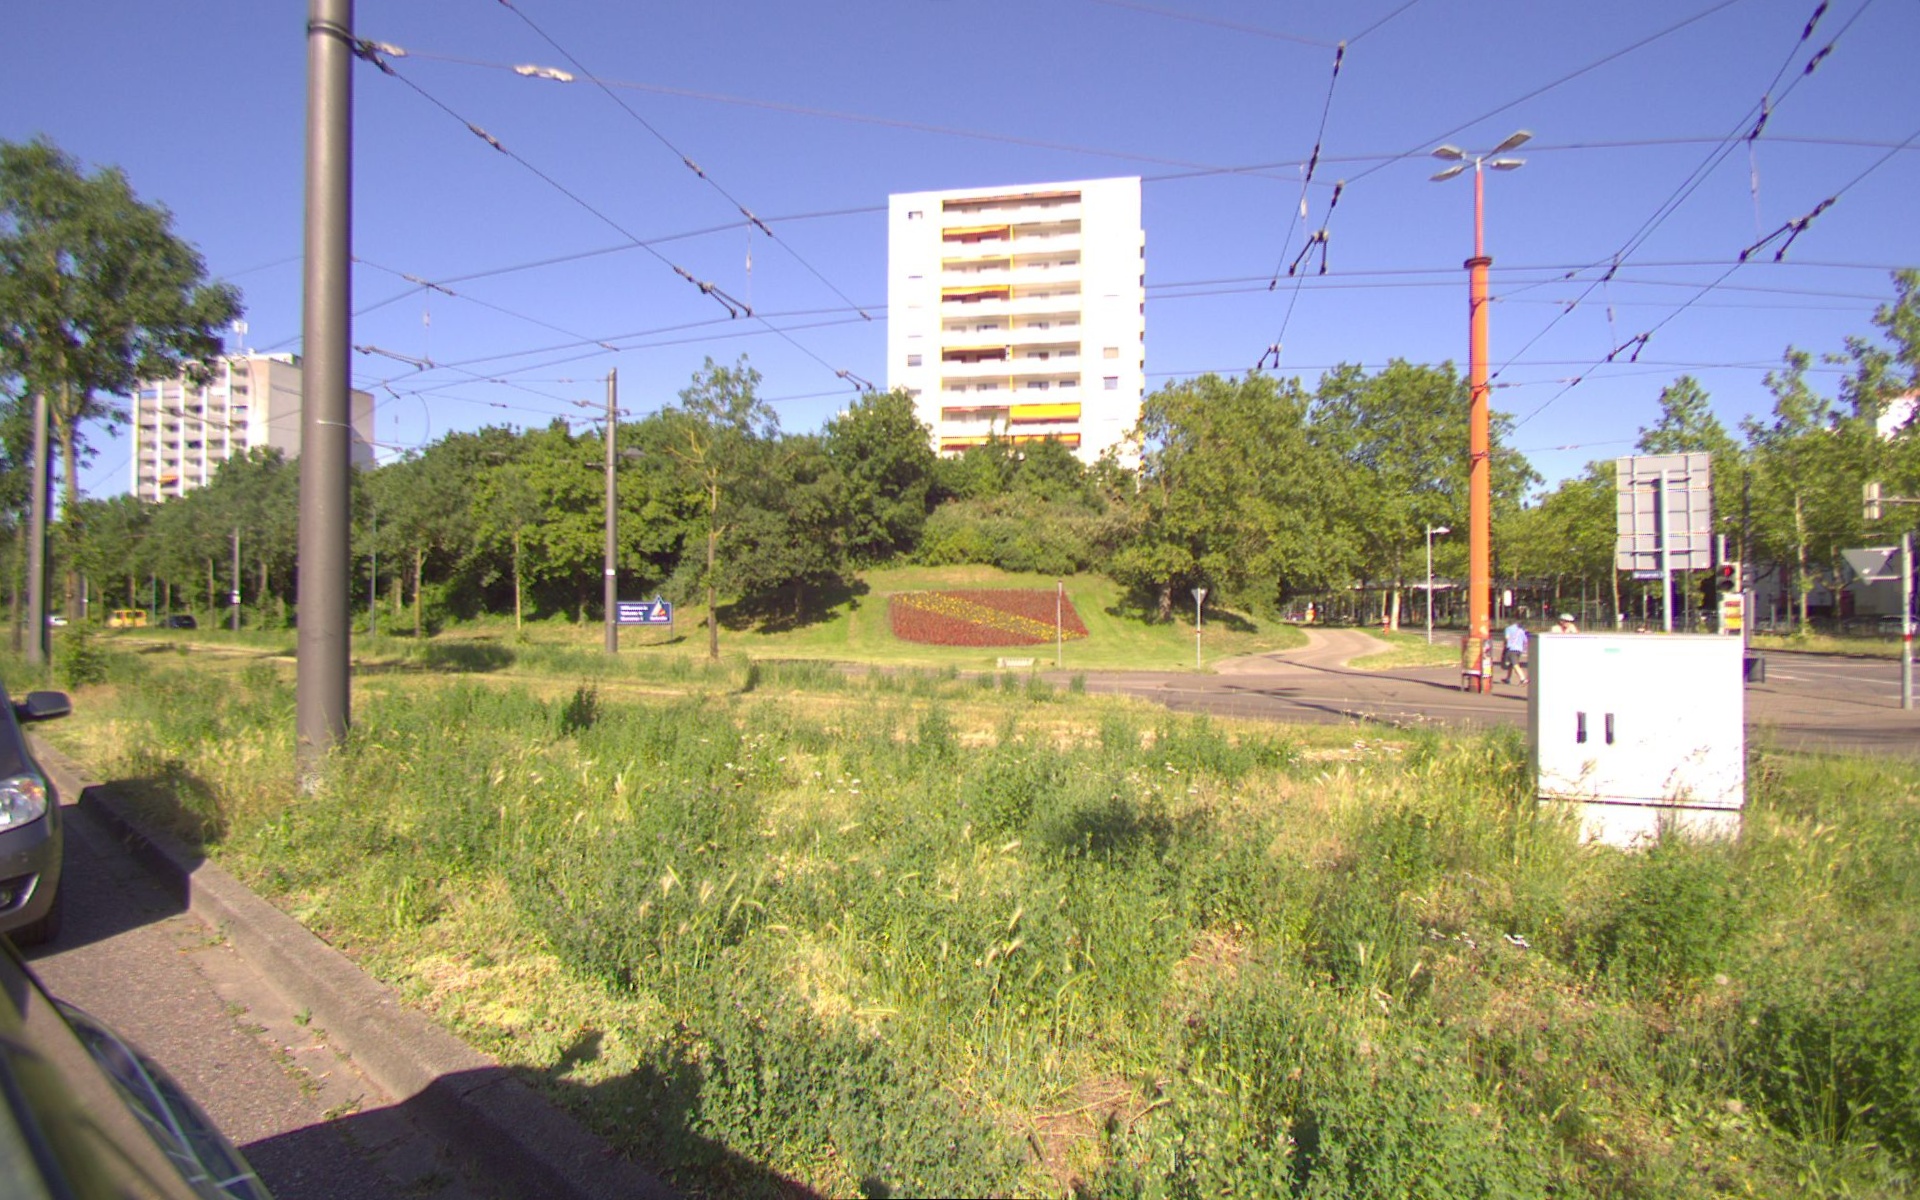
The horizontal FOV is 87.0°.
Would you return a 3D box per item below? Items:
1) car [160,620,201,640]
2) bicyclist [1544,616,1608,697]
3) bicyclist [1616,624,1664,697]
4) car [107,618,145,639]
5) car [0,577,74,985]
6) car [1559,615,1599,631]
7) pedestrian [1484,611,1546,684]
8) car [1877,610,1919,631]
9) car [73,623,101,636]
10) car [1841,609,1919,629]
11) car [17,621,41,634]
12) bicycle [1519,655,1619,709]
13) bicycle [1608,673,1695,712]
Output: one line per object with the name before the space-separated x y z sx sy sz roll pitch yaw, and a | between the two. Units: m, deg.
car | -65.265 2.515 84.680 4.105 1.586 1.972 -1 -2 41
bicyclist | 12.216 1.105 20.088 0.719 1.557 0.770 0 -2 -20
bicyclist | 13.330 1.169 19.841 0.435 1.391 0.631 0 -2 -20
car | -77.893 2.641 94.453 4.905 1.981 1.973 -1 -2 41
car | -5.731 0.745 4.844 3.879 1.634 1.737 -1 -2 41
car | 79.739 2.982 130.481 3.969 2.029 1.987 -1 -1 20
pedestrian | 14.128 1.202 25.800 0.939 1.807 0.990 0 -1 -10
car | 64.894 1.390 68.399 1.770 1.420 4.010 1 -1 -36
car | -91.562 3.090 106.125 4.000 1.386 1.756 -1 -2 43
car | 65.883 1.368 72.381 1.770 1.420 4.010 1 -1 -36
car | -108.875 3.237 118.366 4.241 1.519 1.768 -1 -2 44
bicycle | 12.165 1.618 20.285 0.673 0.968 1.650 0 -1 -20
bicycle | 13.386 1.781 19.622 0.427 0.665 1.426 0 -1 -18
